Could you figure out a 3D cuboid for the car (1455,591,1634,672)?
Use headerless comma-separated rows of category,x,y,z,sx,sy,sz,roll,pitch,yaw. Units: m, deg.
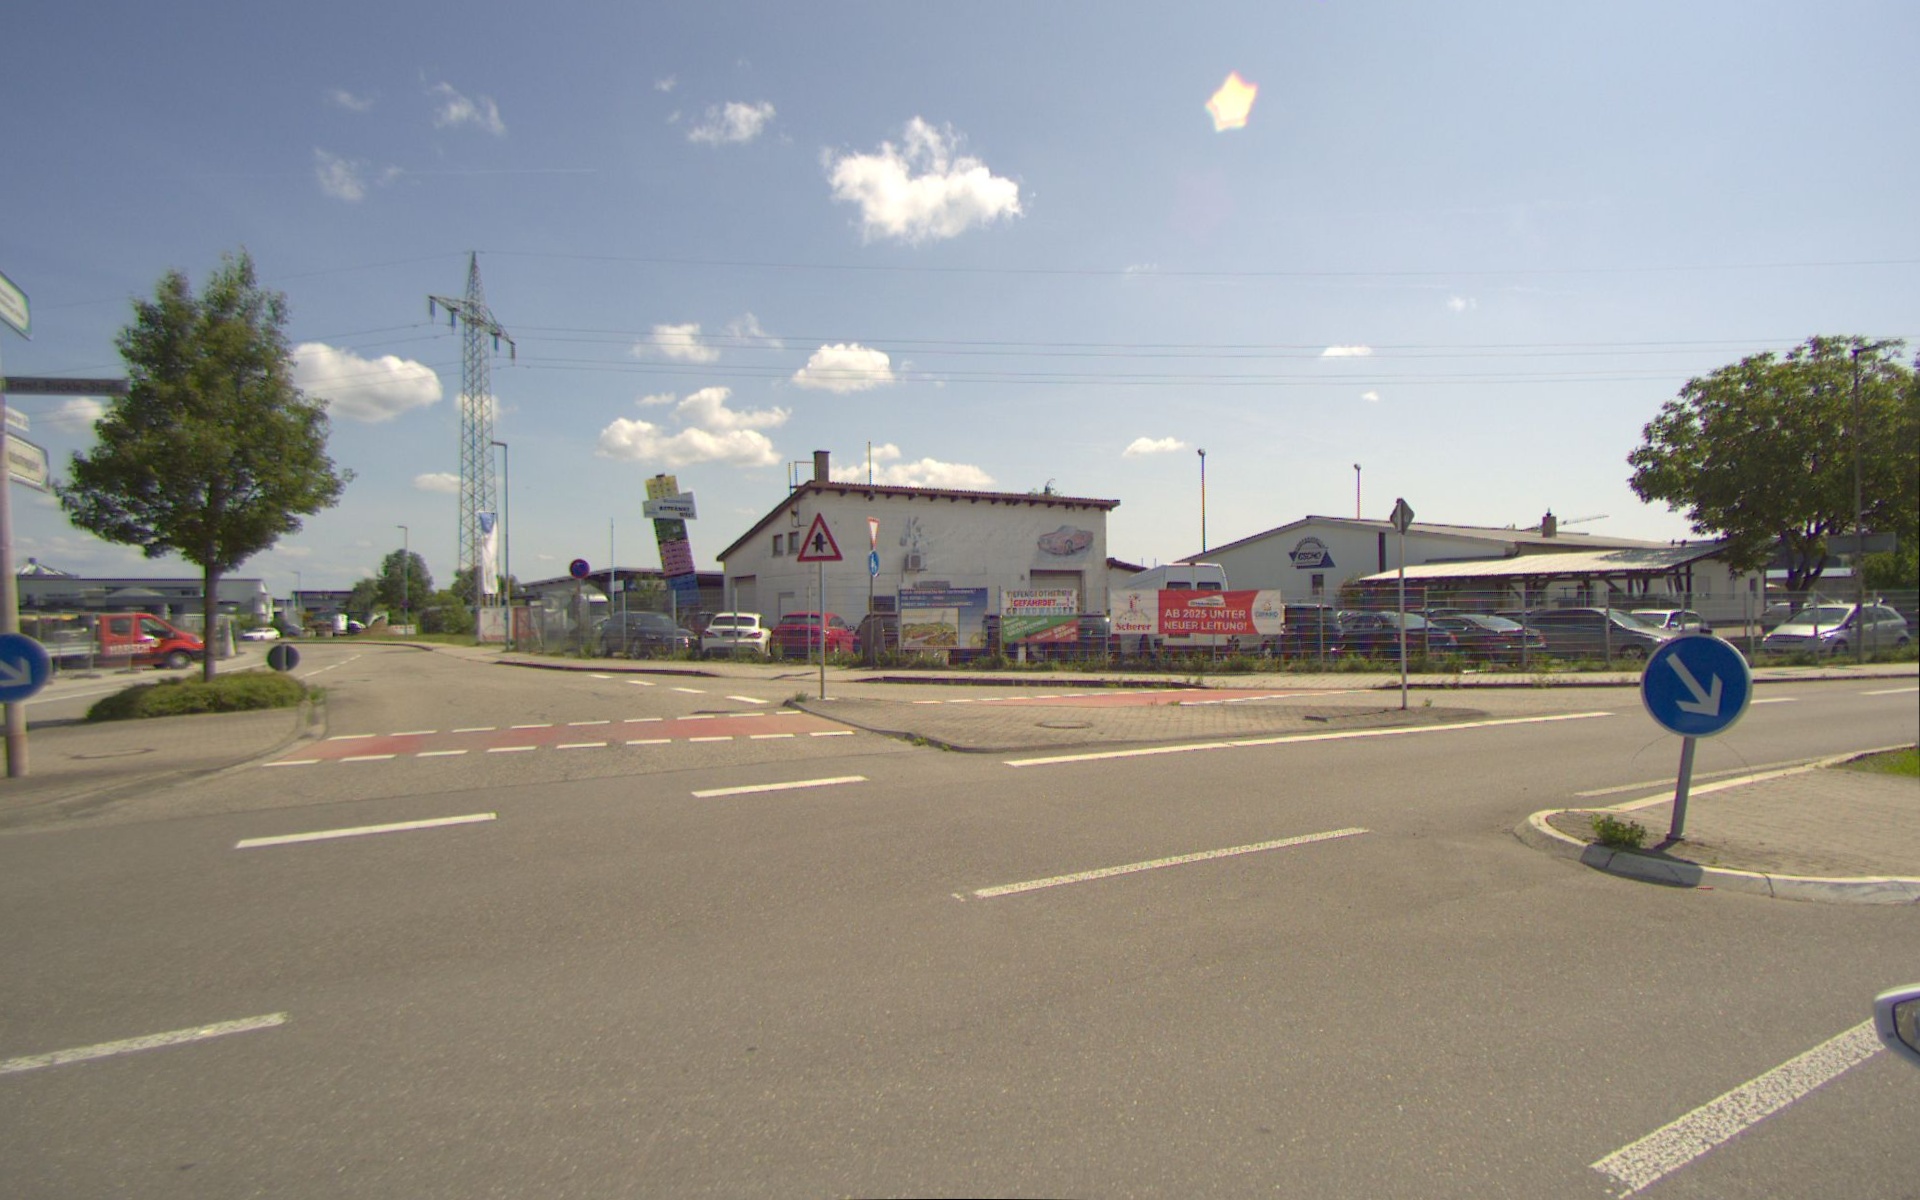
car,15.144,0.740,26.297,1.964,1.929,3.993,-1,0,-9

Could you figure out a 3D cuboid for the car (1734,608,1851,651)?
car,38.028,1.330,45.915,1.822,1.875,3.949,1,-1,-43

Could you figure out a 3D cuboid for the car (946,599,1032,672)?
car,0.662,0.854,25.961,1.961,1.702,3.999,-1,0,-2

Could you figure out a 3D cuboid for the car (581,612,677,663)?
car,-11.096,1.205,33.533,1.980,1.534,3.960,-1,0,-36

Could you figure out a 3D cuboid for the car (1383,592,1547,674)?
car,12.908,0.768,25.983,1.962,1.929,3.996,-1,0,-6

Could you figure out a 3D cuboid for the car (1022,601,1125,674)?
car,2.826,0.891,25.918,1.961,1.676,3.998,-1,0,-3

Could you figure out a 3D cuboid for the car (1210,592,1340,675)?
car,7.883,0.767,25.541,1.961,1.929,3.999,-1,0,-1

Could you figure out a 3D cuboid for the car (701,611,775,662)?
car,-6.294,1.017,28.834,1.693,1.356,3.927,1,-1,-7

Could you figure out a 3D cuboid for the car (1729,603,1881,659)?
car,24.396,0.869,29.026,3.532,1.537,1.827,1,-1,-19

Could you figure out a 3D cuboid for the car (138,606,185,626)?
car,-88.985,1.763,111.936,3.962,2.185,1.980,1,-1,-36

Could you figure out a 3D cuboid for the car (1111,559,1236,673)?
car,5.353,0.414,25.788,1.962,2.643,4.363,1,-1,-4

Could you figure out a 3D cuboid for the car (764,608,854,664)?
car,-4.024,0.949,27.378,1.961,1.394,3.999,1,-1,-2

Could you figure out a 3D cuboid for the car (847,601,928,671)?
car,-1.859,0.899,26.750,1.961,1.676,3.999,-1,0,-2

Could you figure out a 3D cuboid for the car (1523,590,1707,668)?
car,17.534,0.711,27.138,1.965,1.929,3.991,-1,0,-11

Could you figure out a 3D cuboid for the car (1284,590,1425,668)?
car,9.914,0.674,25.582,1.961,1.805,3.999,-1,0,-1

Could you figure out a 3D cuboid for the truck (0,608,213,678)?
truck,-31.021,1.450,36.199,2.467,2.217,6.091,0,0,32
